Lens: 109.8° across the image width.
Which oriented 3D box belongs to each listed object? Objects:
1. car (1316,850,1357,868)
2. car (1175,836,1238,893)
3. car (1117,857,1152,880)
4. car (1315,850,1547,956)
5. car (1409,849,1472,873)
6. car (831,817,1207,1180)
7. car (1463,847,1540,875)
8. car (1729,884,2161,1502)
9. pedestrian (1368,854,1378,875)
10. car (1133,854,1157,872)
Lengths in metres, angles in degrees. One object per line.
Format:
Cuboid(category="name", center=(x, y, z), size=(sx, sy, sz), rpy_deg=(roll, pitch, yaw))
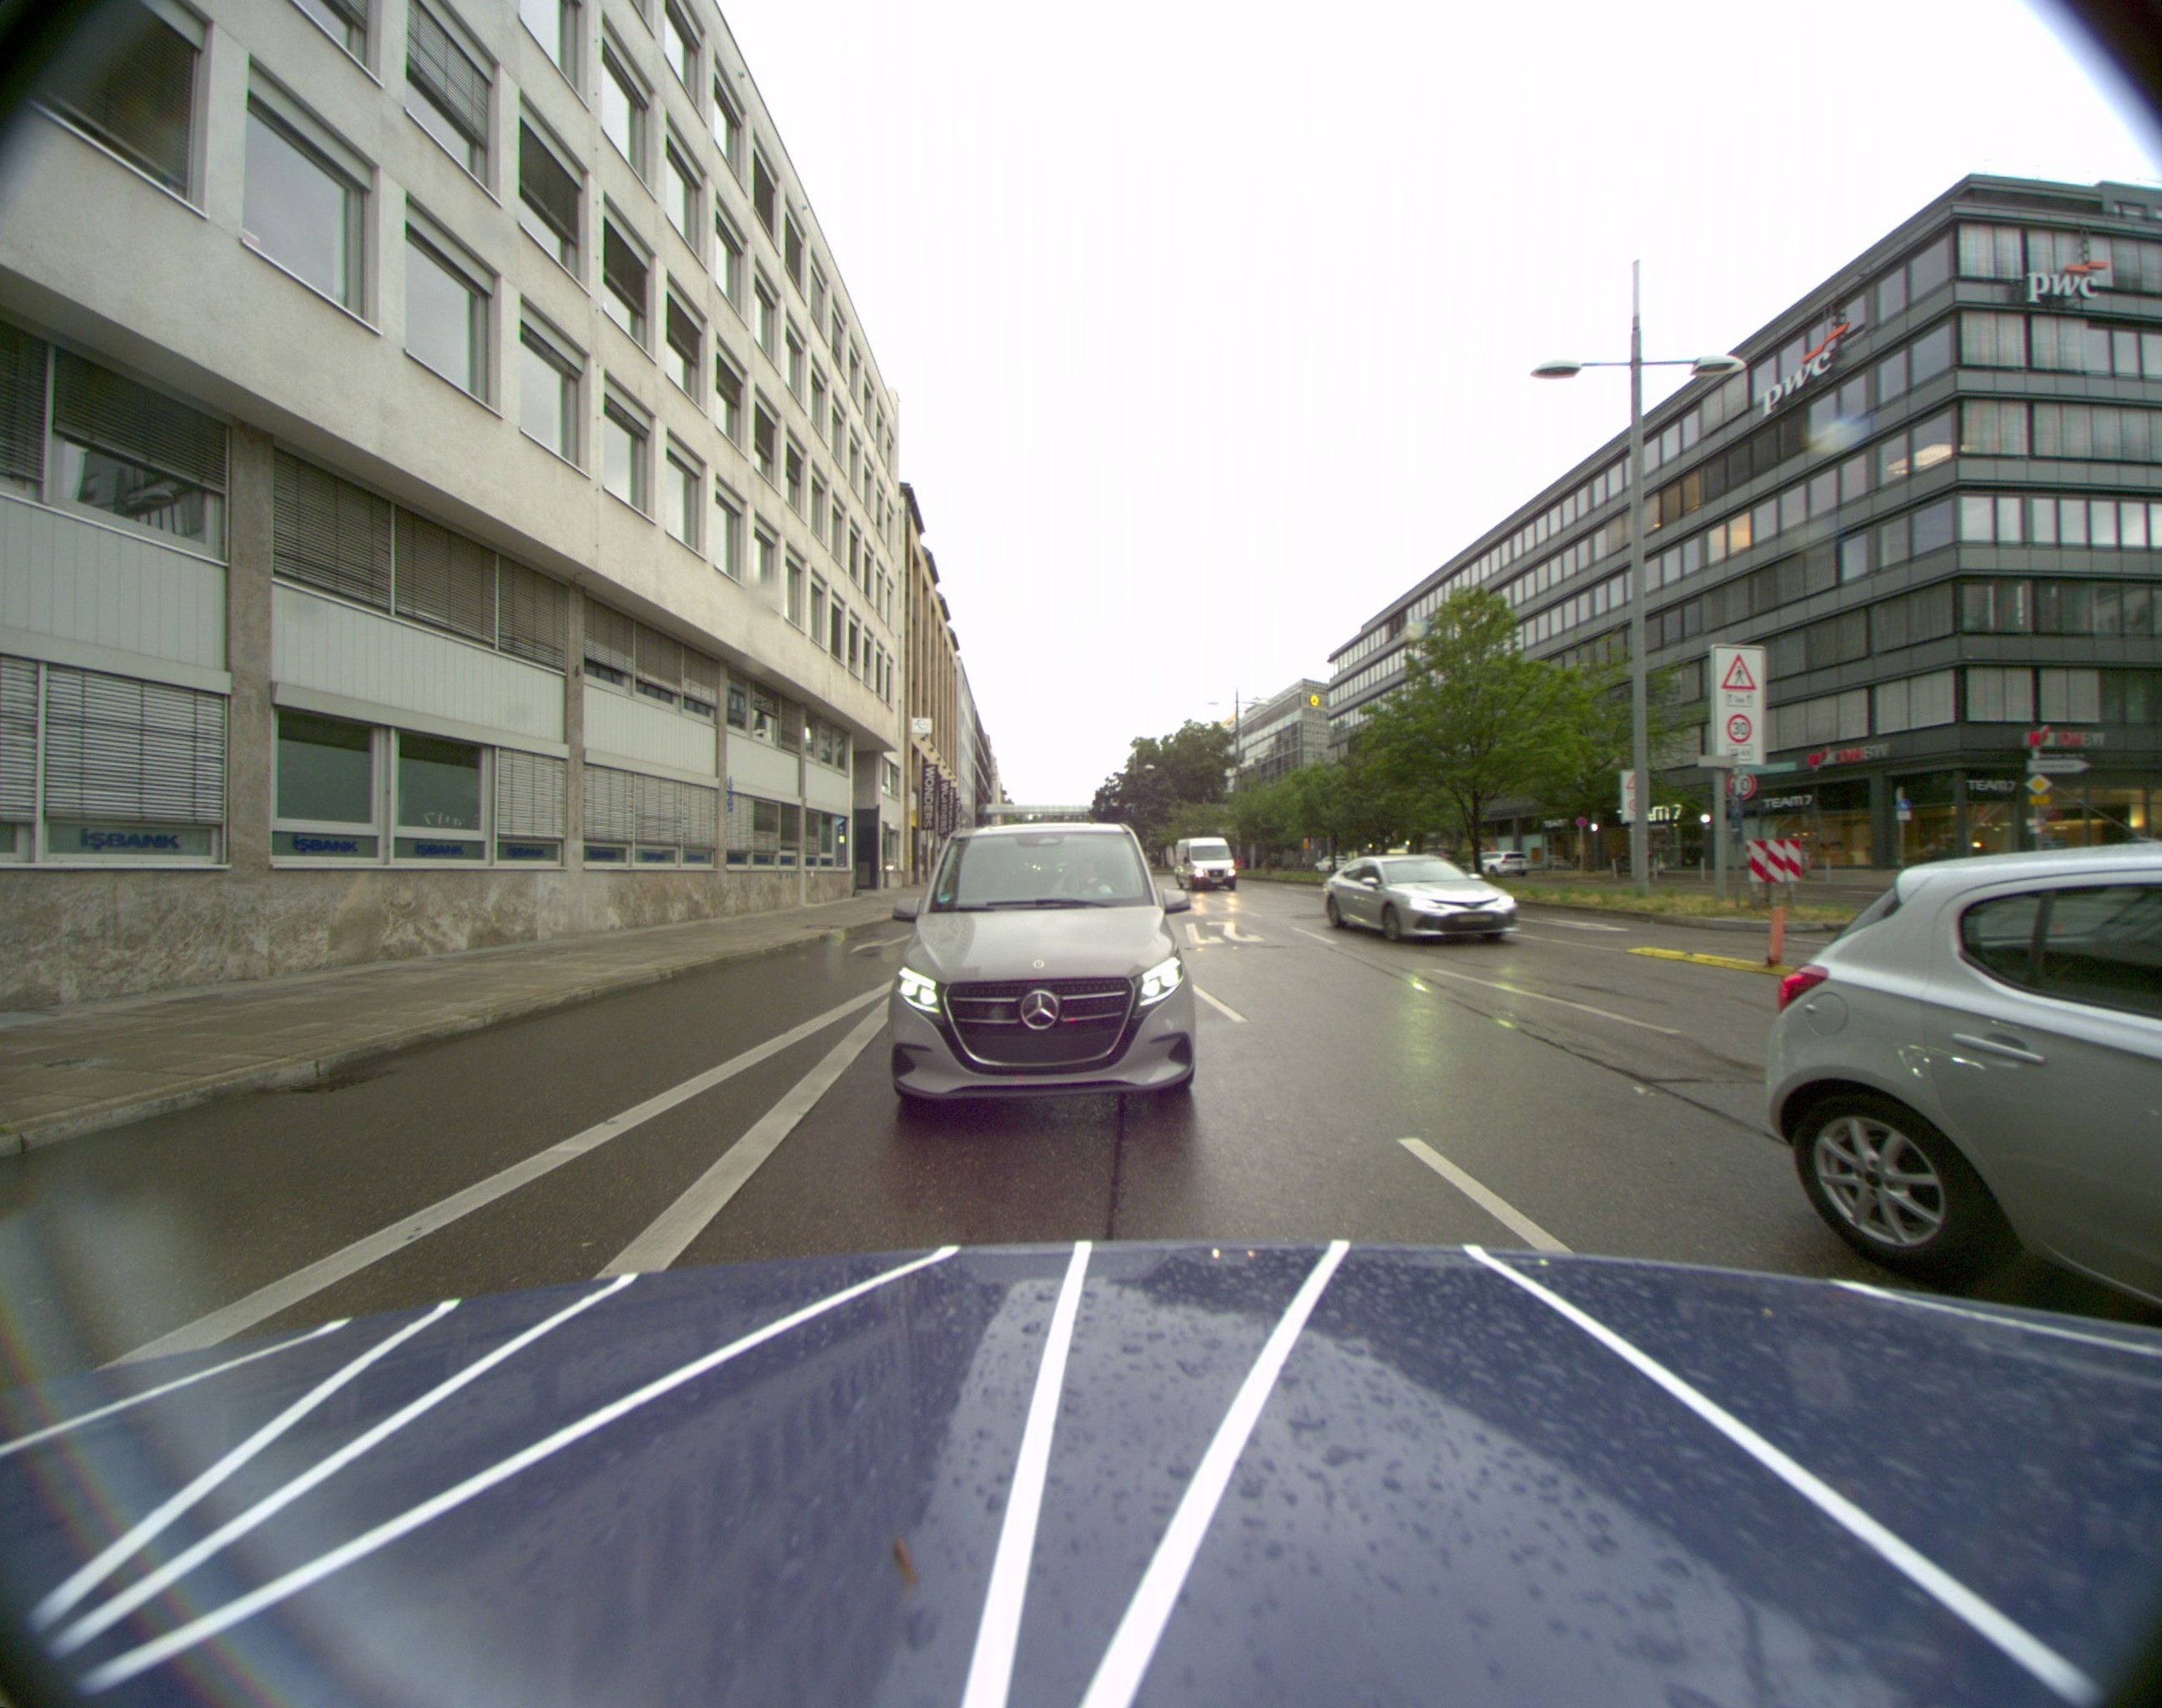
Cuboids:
Cuboid(category="car", center=(22.382, 0.454, 66.669), size=(1.999, 1.498, 3.999), rpy_deg=(-2, 0, -4))
Cuboid(category="car", center=(5.838, 0.449, 35.935), size=(1.951, 2.426, 5.480), rpy_deg=(-2, 0, 0))
Cuboid(category="car", center=(3.516, 0.940, 50.531), size=(1.776, 1.427, 4.093), rpy_deg=(-2, 0, -4))
Cuboid(category="car", center=(6.003, 0.747, 13.811), size=(1.870, 1.524, 4.776), rpy_deg=(-2, 0, -2))
Cuboid(category="car", center=(23.635, 0.444, 50.124), size=(1.999, 1.498, 4.106), rpy_deg=(-2, 0, -4))
Cuboid(category="car", center=(-0.340, 0.768, 6.520), size=(1.916, 1.844, 5.026), rpy_deg=(-2, 0, 0))
Cuboid(category="car", center=(24.093, 0.385, 43.666), size=(1.999, 1.498, 3.999), rpy_deg=(-2, 0, -4))
Cuboid(category="car", center=(3.483, 0.860, 1.149), size=(1.652, 1.427, 3.875), rpy_deg=(-2, 0, 0))
Cuboid(category="pedestrian", center=(28.298, 1.009, 73.727), size=(0.689, 2.002, 0.501), rpy_deg=(-2, 0, -3))
Cuboid(category="car", center=(5.910, 0.838, 70.363), size=(1.766, 1.608, 3.495), rpy_deg=(-2, 0, -3))
